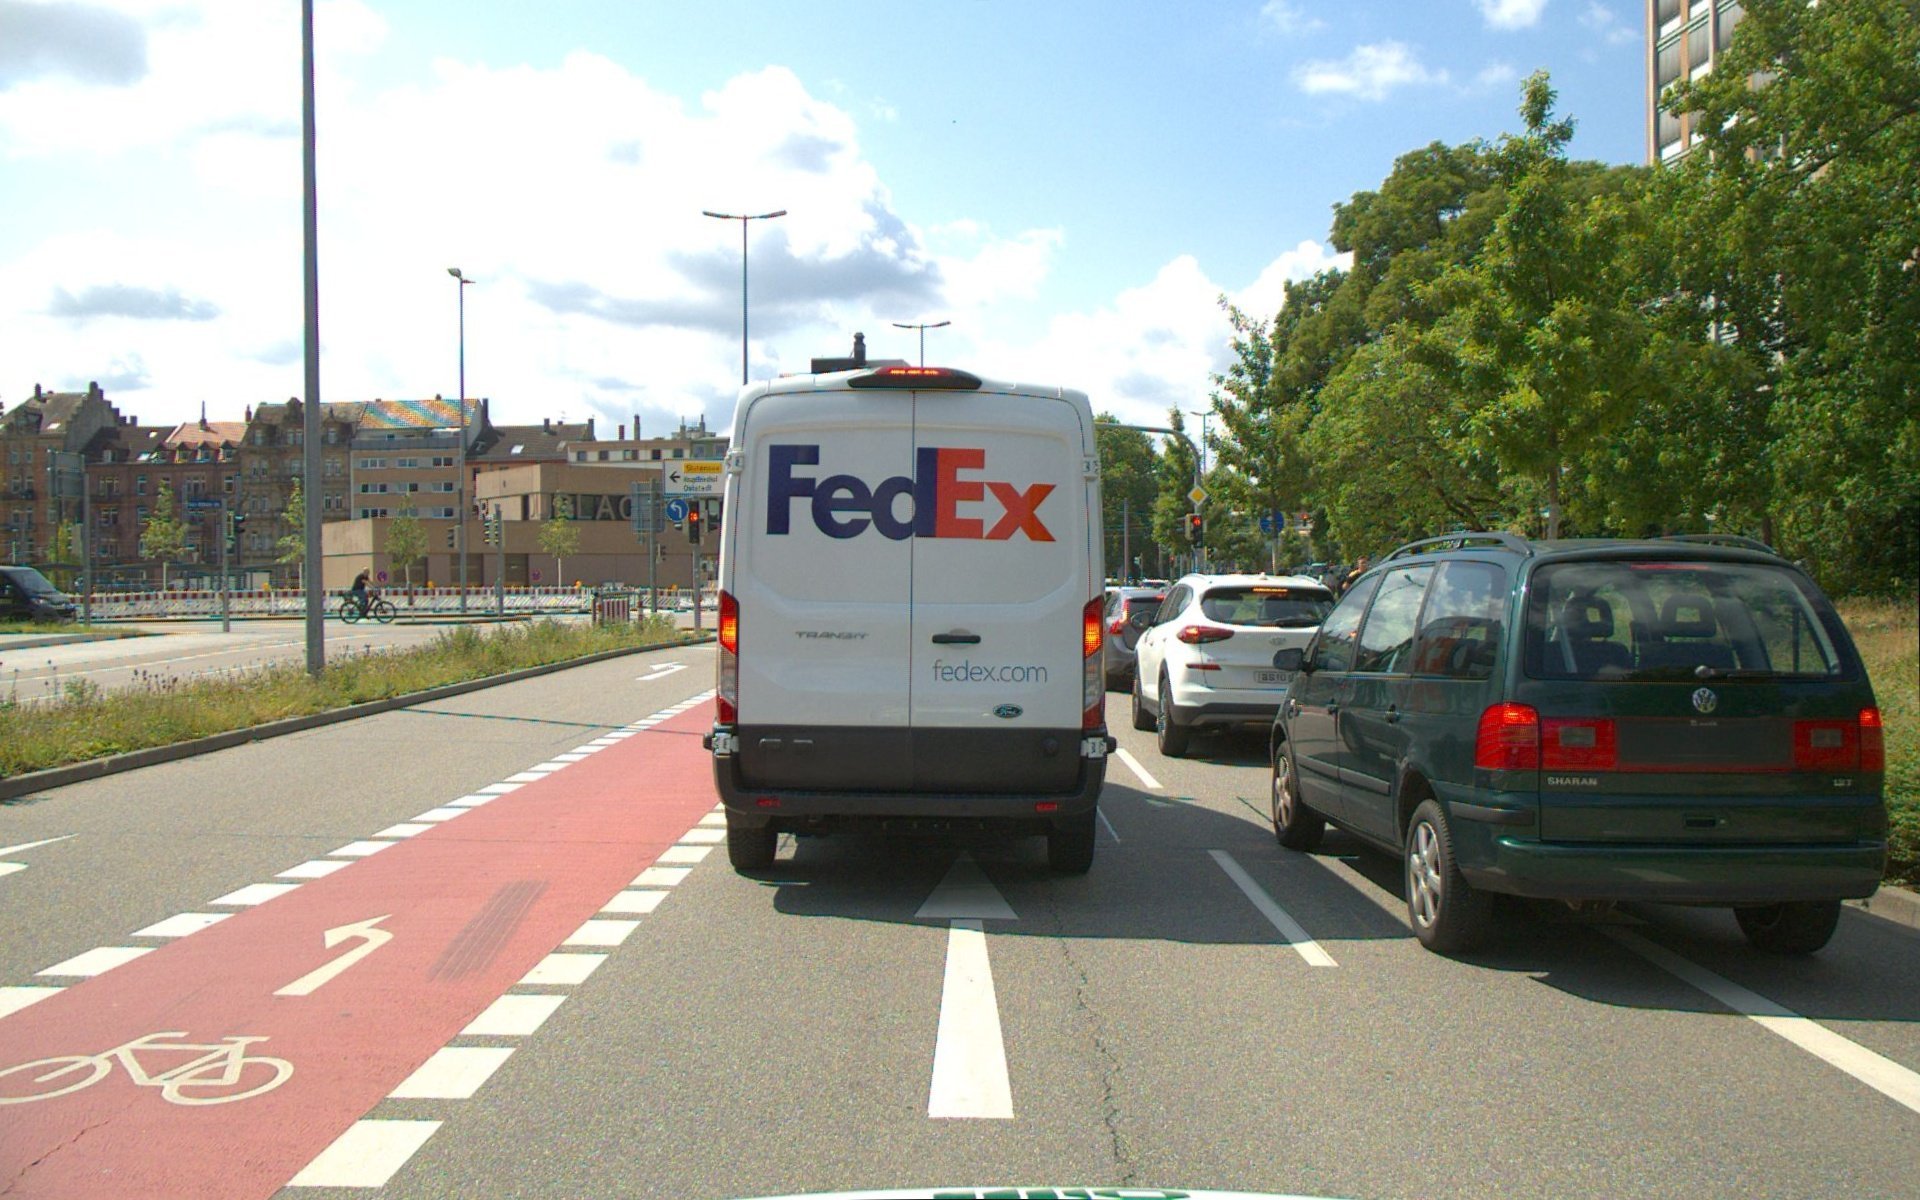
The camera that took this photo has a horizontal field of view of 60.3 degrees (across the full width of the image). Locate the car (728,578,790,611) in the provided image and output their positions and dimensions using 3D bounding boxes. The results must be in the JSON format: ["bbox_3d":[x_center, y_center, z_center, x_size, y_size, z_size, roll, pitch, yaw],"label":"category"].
[{"bbox_3d":[-10.345,-0.273,85.383,1.860,1.612,4.003,-1,0,13],"label":"car"}]

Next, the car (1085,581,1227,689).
[{"bbox_3d":[2.885,0.461,25.036,1.760,1.486,3.839,0,1,1],"label":"car"}]

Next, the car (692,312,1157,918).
[{"bbox_3d":[-0.377,0.045,10.303,2.098,2.699,5.698,0,0,-5],"label":"car"}]

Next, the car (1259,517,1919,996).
[{"bbox_3d":[2.822,0.548,8.308,1.775,1.764,4.388,0,1,-1],"label":"car"}]

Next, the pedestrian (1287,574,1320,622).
[{"bbox_3d":[10.242,-0.070,49.292,0.827,1.413,0.741,-1,1,-1],"label":"pedestrian"}]

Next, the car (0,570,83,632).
[{"bbox_3d":[-31.163,0.030,53.076,4.910,1.911,1.927,-1,1,-4],"label":"car"}]

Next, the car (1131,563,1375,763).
[{"bbox_3d":[2.740,0.515,16.298,1.760,1.717,4.001,0,1,1],"label":"car"}]

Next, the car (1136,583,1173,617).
[{"bbox_3d":[11.073,0.002,93.884,1.951,1.825,4.375,-1,0,9],"label":"car"}]

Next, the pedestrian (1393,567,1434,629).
[{"bbox_3d":[11.650,-0.065,42.518,0.827,1.565,0.835,-1,1,-1],"label":"pedestrian"}]

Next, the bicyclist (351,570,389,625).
[{"bbox_3d":[-20.289,-0.093,56.872,1.098,1.877,0.592,-1,1,-8],"label":"bicyclist"}]

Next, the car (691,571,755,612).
[{"bbox_3d":[-12.381,-0.431,86.648,1.951,2.049,4.003,-1,0,14],"label":"car"}]

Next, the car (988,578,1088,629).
[{"bbox_3d":[3.355,0.132,70.098,2.058,2.049,4.626,-1,0,36],"label":"car"}]

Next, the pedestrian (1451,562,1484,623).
[{"bbox_3d":[17.527,-0.262,57.130,0.727,2.093,0.843,-1,1,-17],"label":"pedestrian"}]

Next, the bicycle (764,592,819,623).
[{"bbox_3d":[-5.851,0.259,57.522,1.884,1.048,0.547,-1,1,-8],"label":"bicycle"}]

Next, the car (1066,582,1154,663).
[{"bbox_3d":[2.842,0.385,31.905,1.454,1.453,3.433,0,1,1],"label":"car"}]

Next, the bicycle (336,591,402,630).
[{"bbox_3d":[-20.321,0.359,56.865,2.025,1.312,0.603,-1,1,-7],"label":"bicycle"}]

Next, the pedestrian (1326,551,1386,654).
[{"bbox_3d":[7.471,0.044,31.233,0.931,1.925,0.774,0,1,-1],"label":"pedestrian"}]

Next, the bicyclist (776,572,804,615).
[{"bbox_3d":[-5.919,-0.225,57.520,0.950,1.500,0.550,-1,1,-8],"label":"bicyclist"}]
